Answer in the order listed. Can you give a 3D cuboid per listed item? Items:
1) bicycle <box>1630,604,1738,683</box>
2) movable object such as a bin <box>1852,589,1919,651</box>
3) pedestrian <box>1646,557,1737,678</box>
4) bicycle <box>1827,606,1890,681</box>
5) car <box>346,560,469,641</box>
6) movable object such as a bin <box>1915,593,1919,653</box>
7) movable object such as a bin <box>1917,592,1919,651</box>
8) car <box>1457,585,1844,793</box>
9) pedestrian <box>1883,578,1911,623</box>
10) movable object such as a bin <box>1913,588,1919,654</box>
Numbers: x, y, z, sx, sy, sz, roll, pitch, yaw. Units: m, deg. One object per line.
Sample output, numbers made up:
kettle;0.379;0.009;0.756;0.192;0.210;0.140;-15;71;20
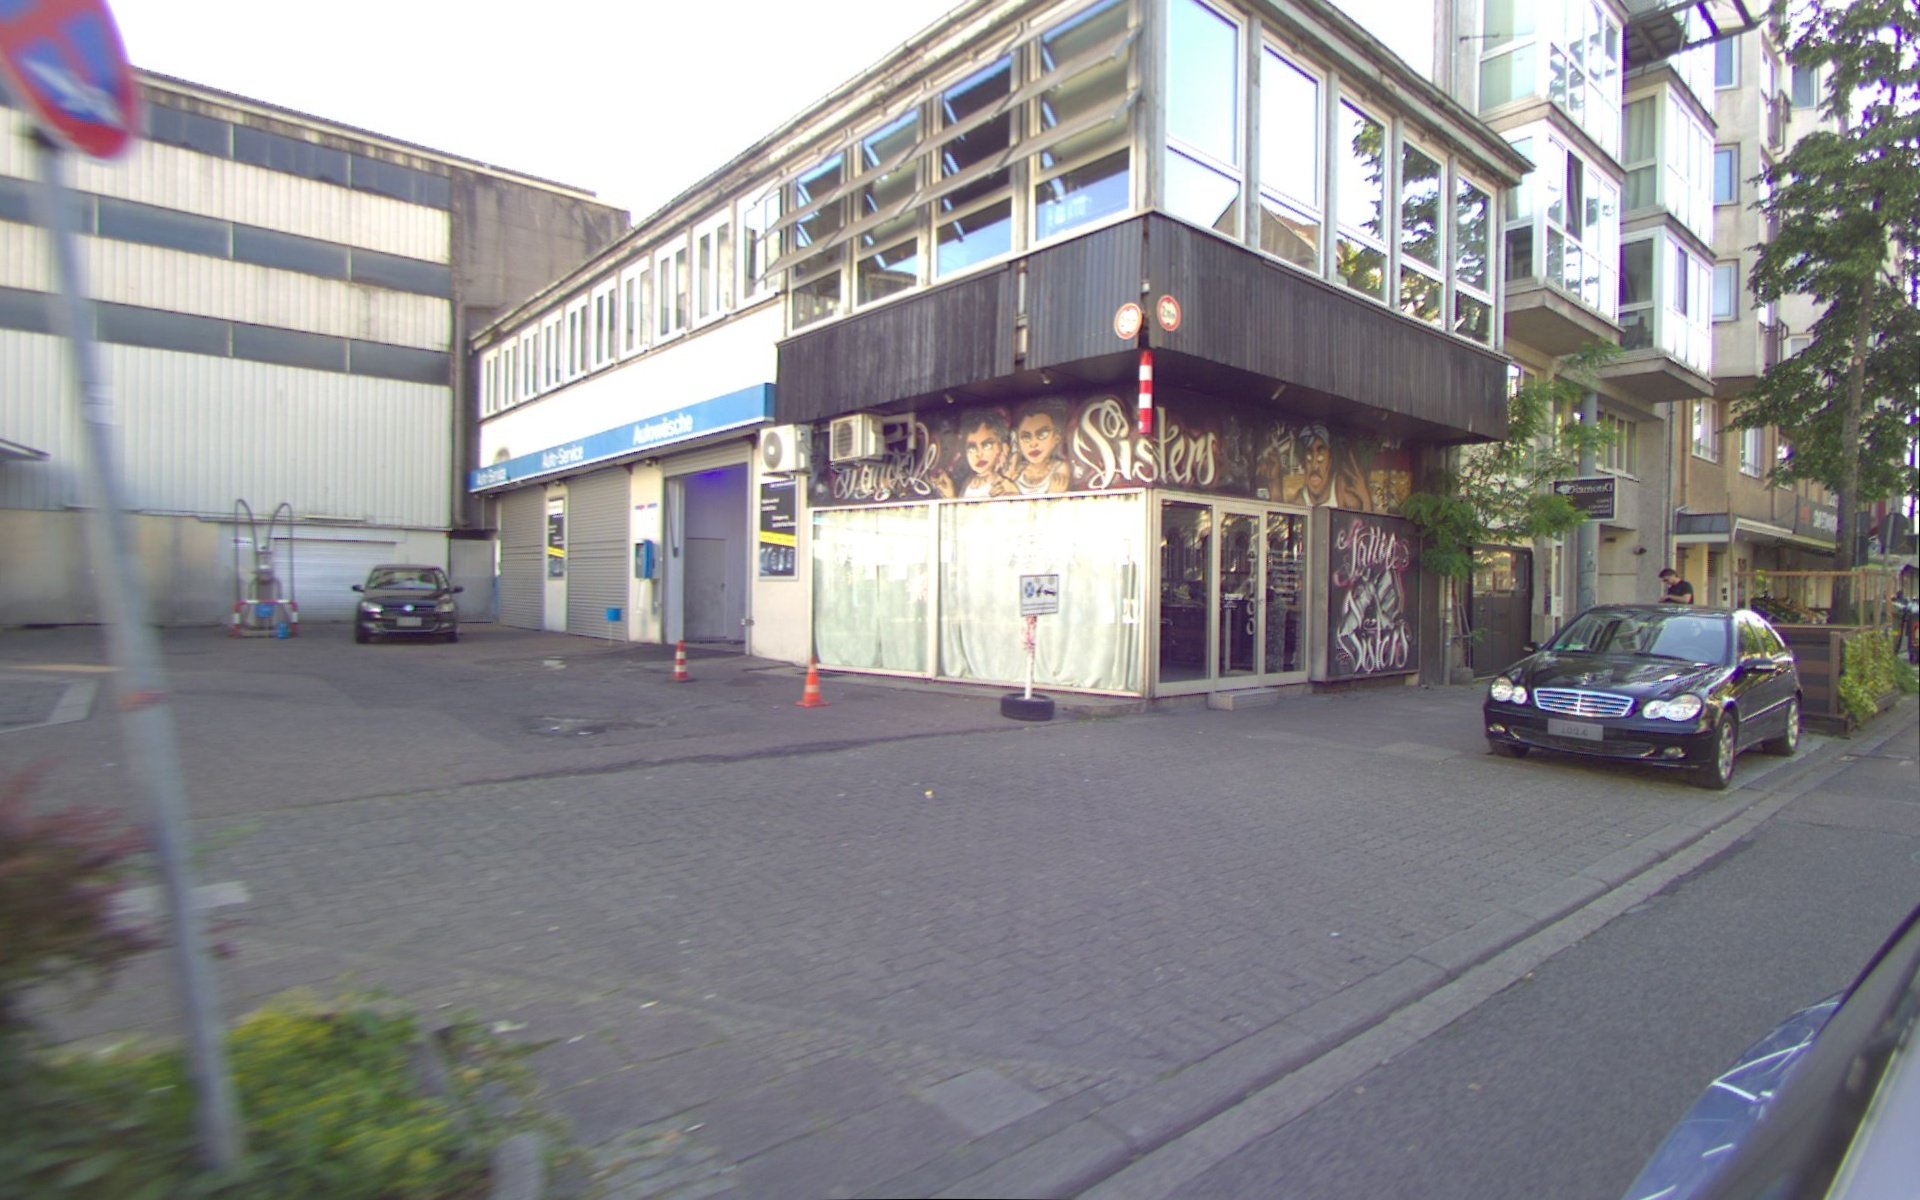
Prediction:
bicycle;11.701;0.669;16.418;0.670;1.163;1.682;1;1;7
movable object such as a bin;22.585;0.469;24.674;1.272;1.449;1.079;0;1;-41
pedestrian;12.228;0.282;16.944;0.745;1.960;0.930;1;1;-16
bicycle;15.579;0.725;17.585;0.607;1.133;2.026;10;7;39
car;-10.616;-0.056;19.319;1.869;1.375;4.004;0;2;-31
movable object such as a bin;24.267;0.581;24.608;1.126;1.472;1.402;0;1;-40
movable object such as a bin;25.083;0.564;25.414;1.126;1.472;1.402;0;1;-40
car;6.673;0.628;9.560;4.566;1.429;1.905;0;3;-41
pedestrian;36.238;0.030;39.146;0.493;1.717;0.631;0;1;-30
movable object such as a bin;23.438;0.511;23.817;1.126;1.562;1.333;0;1;-40
